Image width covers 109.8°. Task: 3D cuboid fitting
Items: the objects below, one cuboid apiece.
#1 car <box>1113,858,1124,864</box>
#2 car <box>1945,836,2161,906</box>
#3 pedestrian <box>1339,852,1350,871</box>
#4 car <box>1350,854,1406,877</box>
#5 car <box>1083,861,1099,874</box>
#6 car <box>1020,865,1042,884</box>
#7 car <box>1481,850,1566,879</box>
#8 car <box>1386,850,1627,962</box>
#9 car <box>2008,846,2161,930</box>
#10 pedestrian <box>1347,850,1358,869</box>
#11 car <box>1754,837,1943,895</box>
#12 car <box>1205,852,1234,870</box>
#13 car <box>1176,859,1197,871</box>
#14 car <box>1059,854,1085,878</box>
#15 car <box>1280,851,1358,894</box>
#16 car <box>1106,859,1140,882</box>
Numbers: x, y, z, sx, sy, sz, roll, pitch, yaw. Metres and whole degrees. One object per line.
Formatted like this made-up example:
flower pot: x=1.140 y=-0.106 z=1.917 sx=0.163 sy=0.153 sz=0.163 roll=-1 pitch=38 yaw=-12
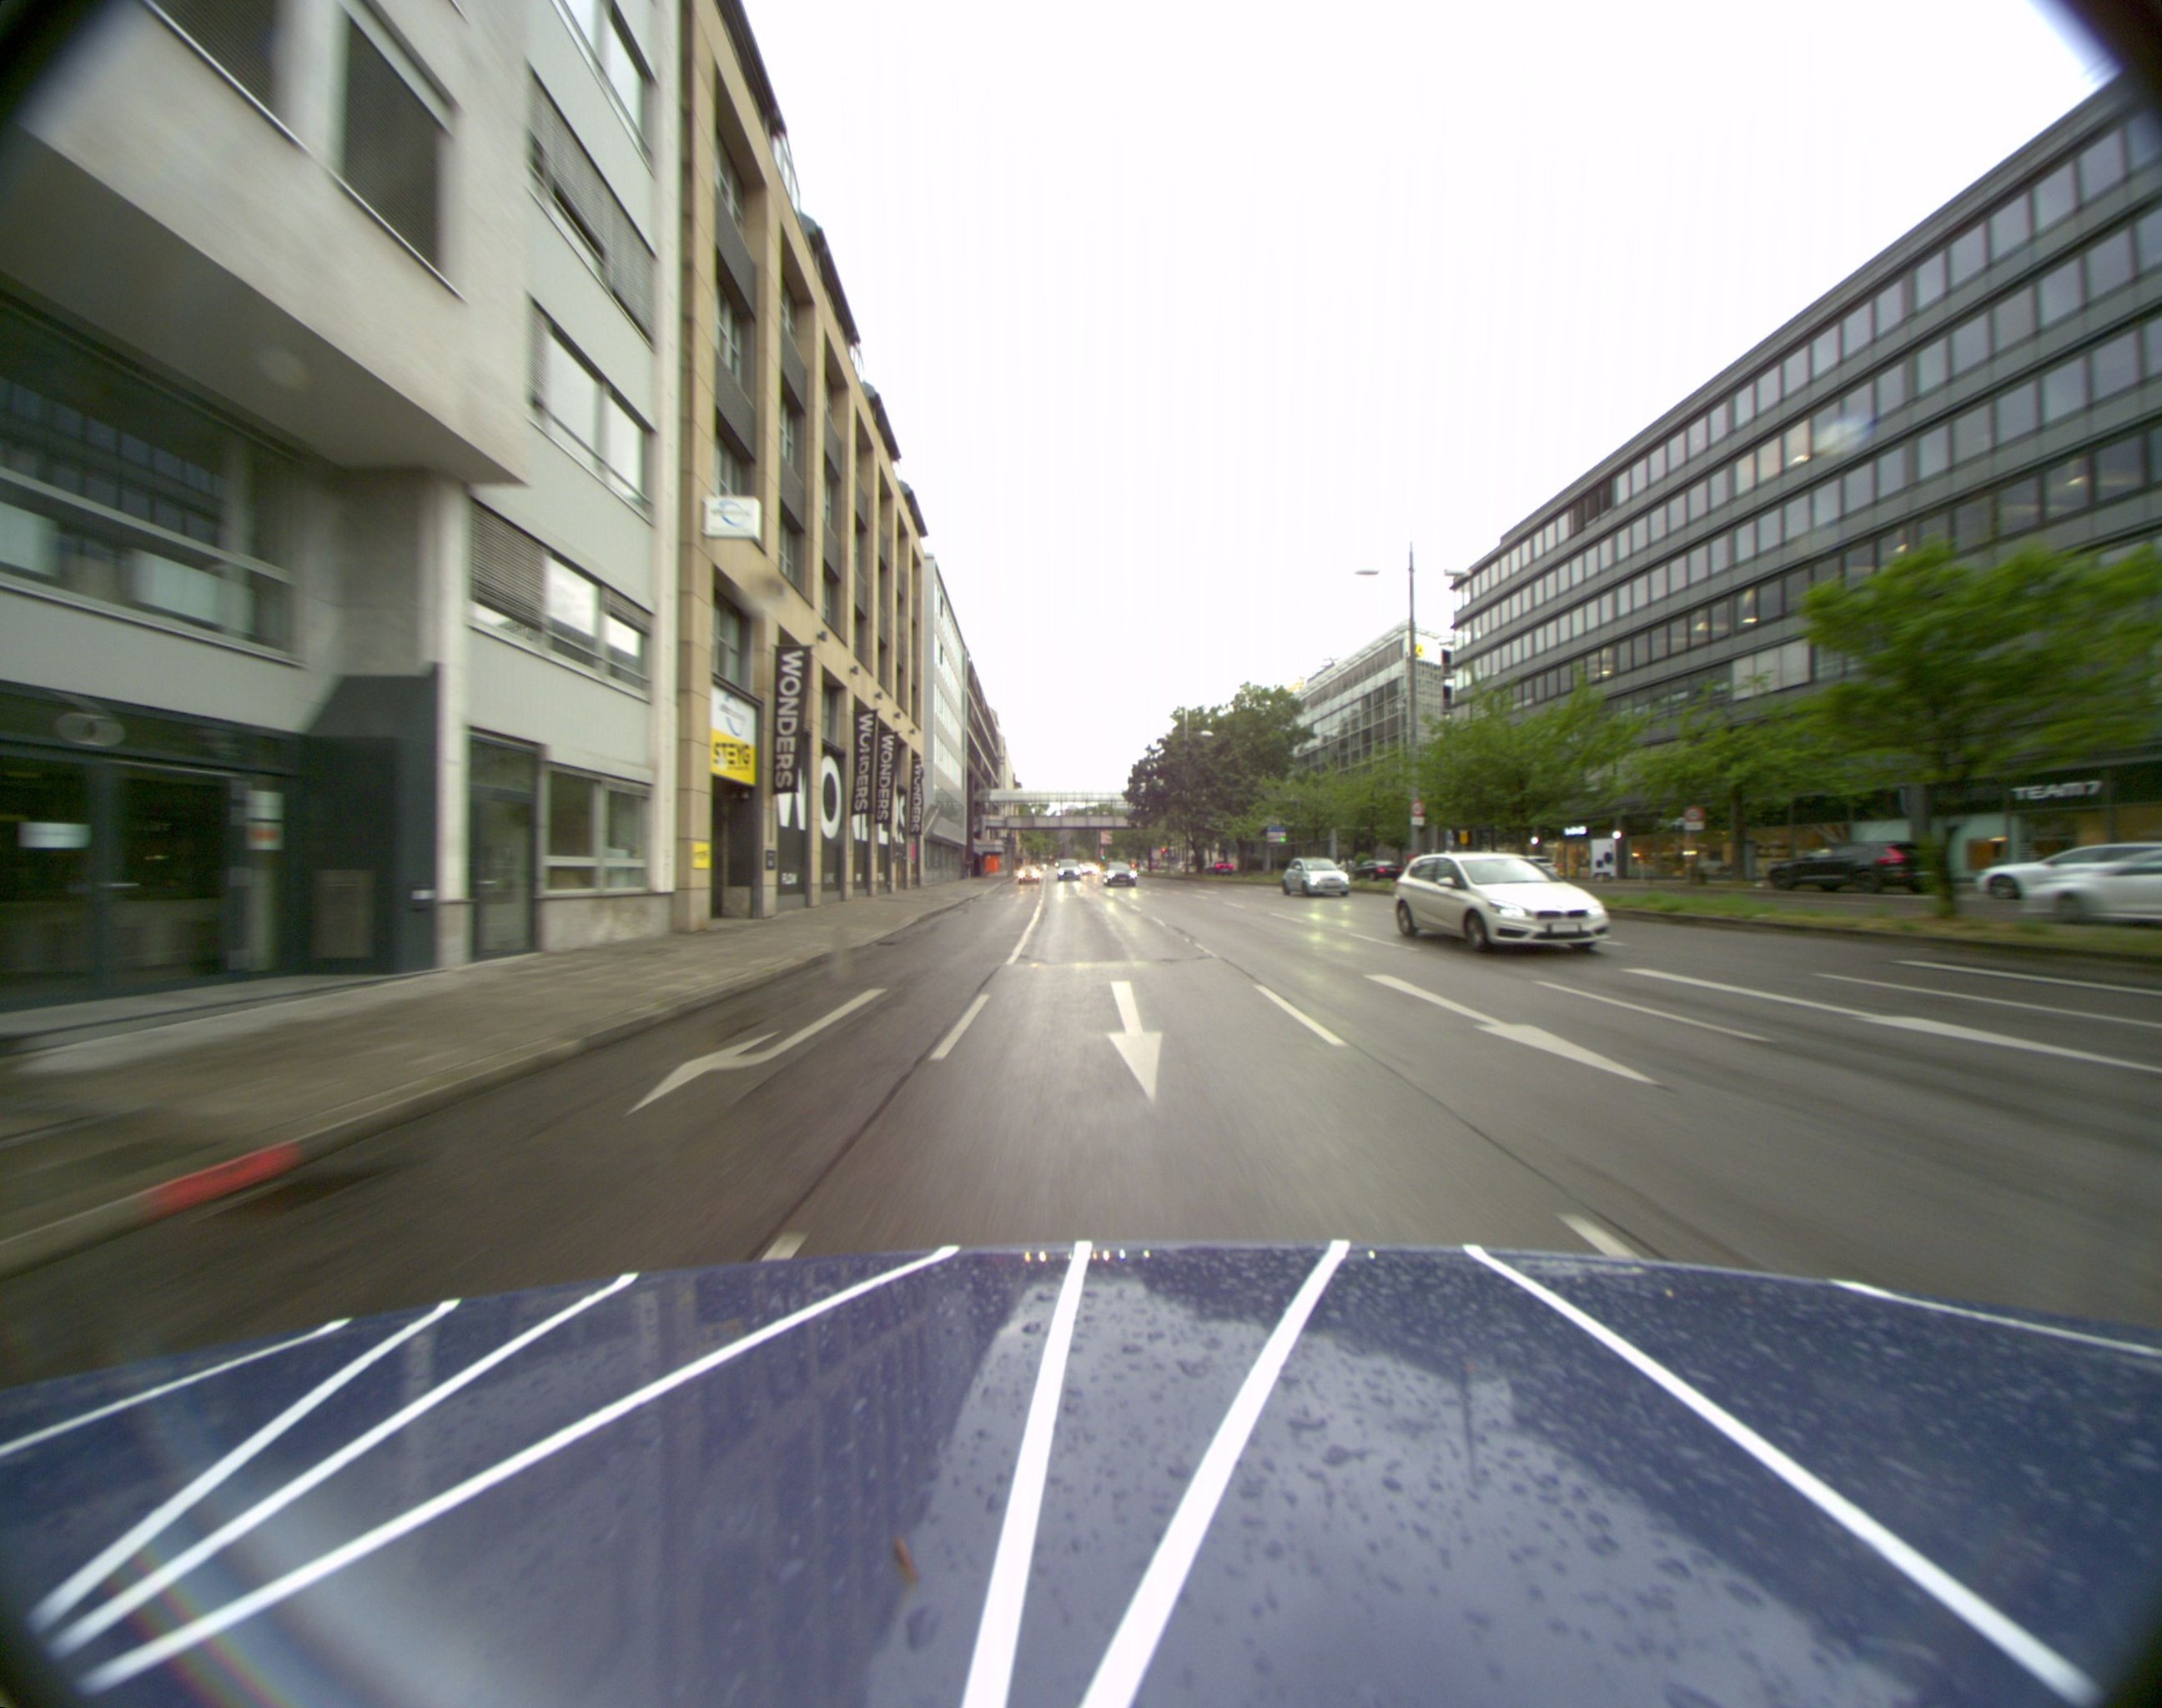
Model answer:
car: x=7.748 y=1.446 z=158.126 sx=1.732 sy=1.303 sz=4.075 roll=-1 pitch=0 yaw=-6
car: x=25.212 y=0.374 z=18.910 sx=1.813 sy=1.476 sz=4.772 roll=-4 pitch=0 yaw=-2
pedestrian: x=26.097 y=0.756 z=75.340 sx=0.729 sy=1.788 sz=0.924 roll=-2 pitch=1 yaw=-2
car: x=19.786 y=0.757 z=50.848 sx=1.814 sy=1.467 sz=4.300 roll=-1 pitch=0 yaw=-4
car: x=1.176 y=1.566 z=89.584 sx=1.853 sy=1.434 sz=3.870 roll=-2 pitch=0 yaw=0
car: x=-3.961 y=1.616 z=60.610 sx=1.667 sy=1.464 sz=3.482 roll=-2 pitch=0 yaw=-4
car: x=24.102 y=0.549 z=41.568 sx=1.814 sy=1.436 sz=4.308 roll=-2 pitch=0 yaw=-5
car: x=6.926 y=0.746 z=12.979 sx=1.788 sy=1.564 sz=4.288 roll=-1 pitch=0 yaw=1
car: x=19.497 y=0.583 z=13.195 sx=1.687 sy=1.423 sz=4.082 roll=-1 pitch=0 yaw=-4
pedestrian: x=26.931 y=0.541 z=75.298 sx=0.729 sy=1.822 sz=0.924 roll=-2 pitch=1 yaw=-2
car: x=25.040 y=0.364 z=25.052 sx=1.813 sy=1.651 sz=4.309 roll=-2 pitch=0 yaw=-1
car: x=14.442 y=0.721 z=79.588 sx=1.814 sy=1.508 sz=4.713 roll=-1 pitch=3 yaw=-4
car: x=13.253 y=1.337 z=95.902 sx=1.732 sy=1.425 sz=4.311 roll=-1 pitch=0 yaw=-4
car: x=-0.880 y=1.075 z=67.737 sx=2.163 sy=2.014 sz=5.040 roll=-2 pitch=0 yaw=-2
car: x=9.356 y=0.713 z=30.207 sx=1.788 sy=1.564 sz=3.690 roll=-1 pitch=0 yaw=-2
car: x=2.774 y=1.082 z=50.583 sx=1.941 sy=1.426 sz=4.287 roll=-1 pitch=0 yaw=-1
